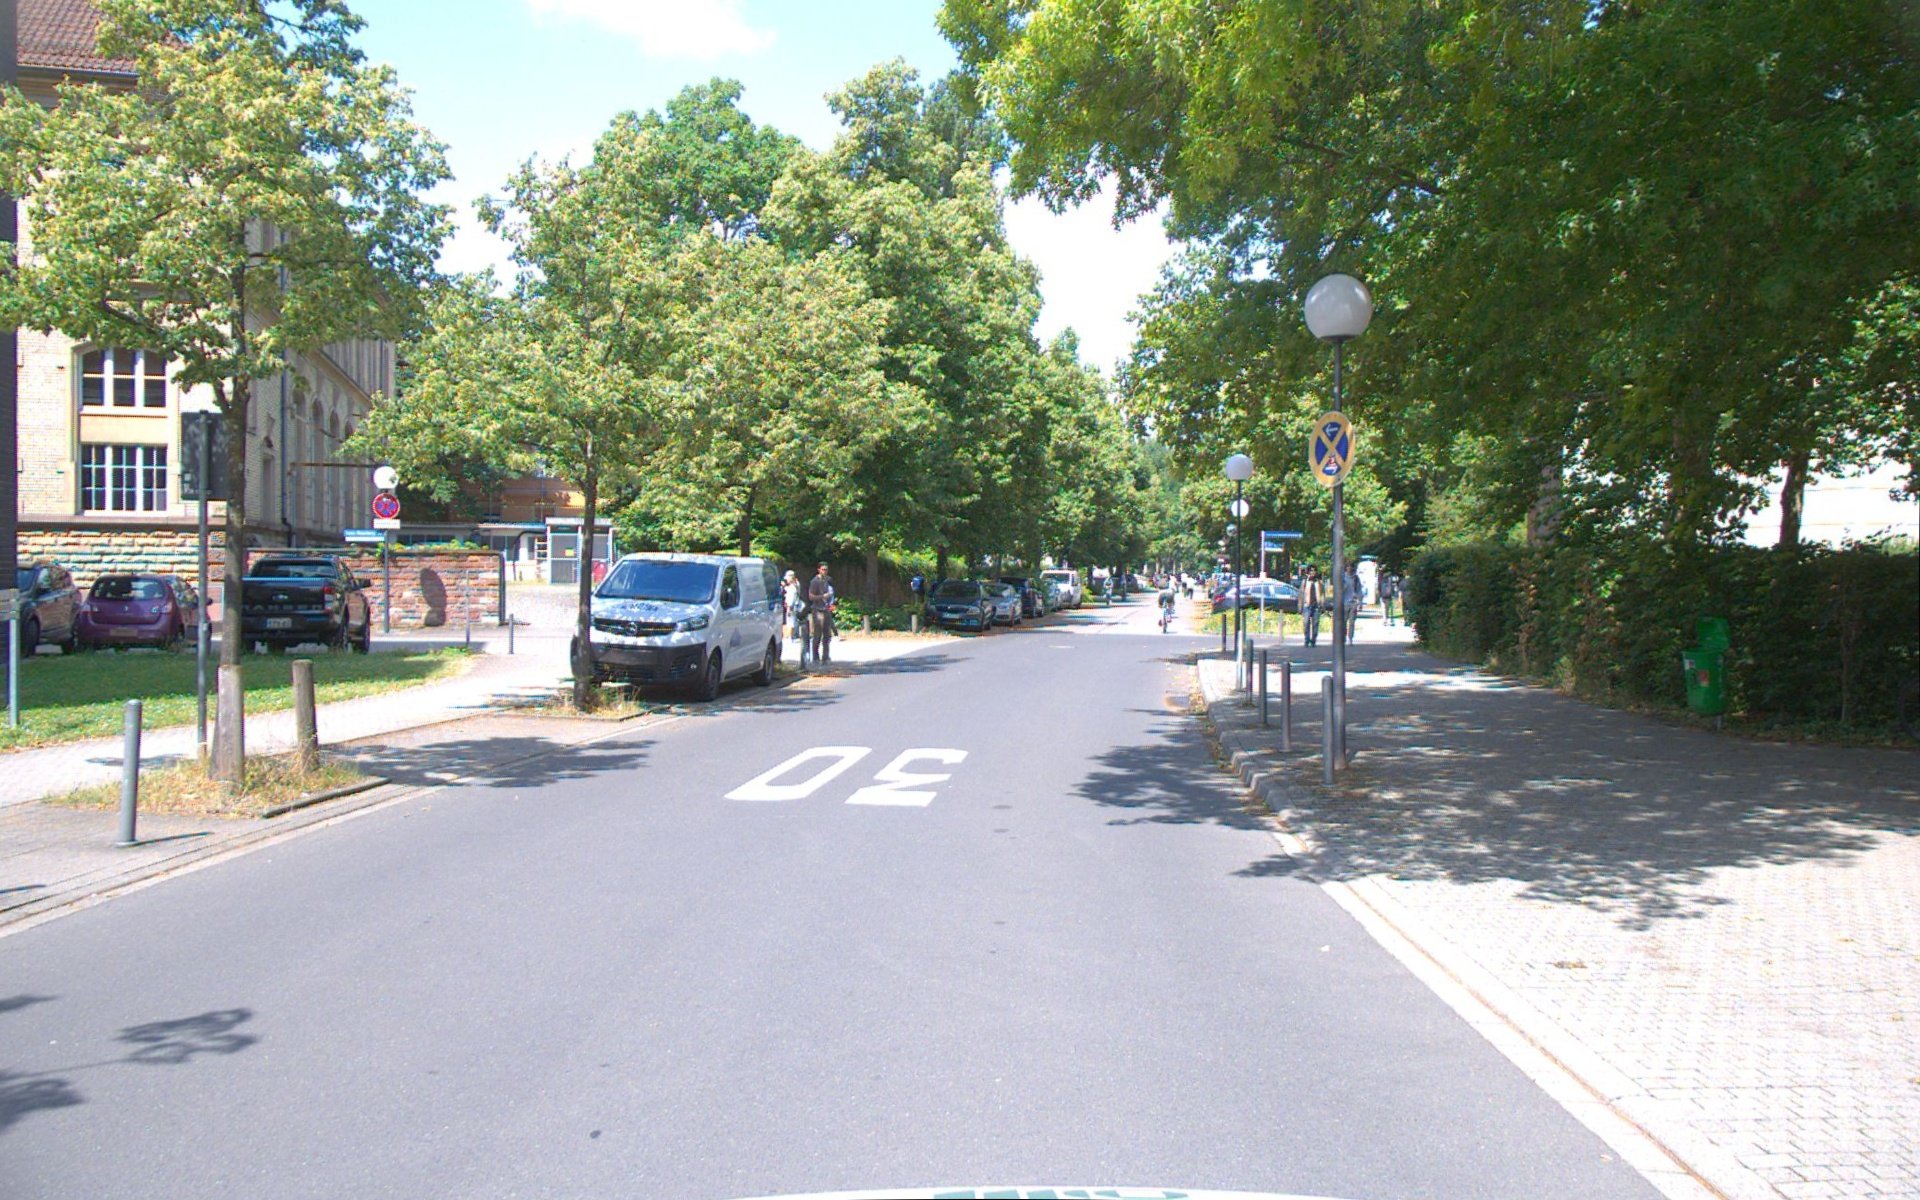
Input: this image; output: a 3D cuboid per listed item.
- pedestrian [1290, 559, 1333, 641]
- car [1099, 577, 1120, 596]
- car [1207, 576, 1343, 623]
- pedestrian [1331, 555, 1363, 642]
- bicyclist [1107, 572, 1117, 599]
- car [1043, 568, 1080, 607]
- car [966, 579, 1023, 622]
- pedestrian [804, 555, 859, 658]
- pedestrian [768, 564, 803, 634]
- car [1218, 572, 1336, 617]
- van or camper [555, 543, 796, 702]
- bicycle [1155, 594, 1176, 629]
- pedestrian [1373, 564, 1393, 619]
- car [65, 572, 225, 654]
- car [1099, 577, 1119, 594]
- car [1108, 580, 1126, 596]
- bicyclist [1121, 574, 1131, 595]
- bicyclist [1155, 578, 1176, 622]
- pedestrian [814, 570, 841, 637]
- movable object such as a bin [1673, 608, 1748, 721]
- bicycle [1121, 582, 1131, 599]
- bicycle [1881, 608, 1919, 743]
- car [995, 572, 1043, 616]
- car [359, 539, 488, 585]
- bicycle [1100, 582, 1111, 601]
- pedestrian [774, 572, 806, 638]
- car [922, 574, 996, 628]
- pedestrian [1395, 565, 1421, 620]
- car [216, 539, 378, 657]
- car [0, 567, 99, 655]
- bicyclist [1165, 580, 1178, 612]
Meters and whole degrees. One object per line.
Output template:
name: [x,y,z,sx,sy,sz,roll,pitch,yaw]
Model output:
pedestrian: [7.796,-0.015,36.654,0.804,1.786,0.841,1,1,20]
car: [11.706,-1.068,129.252,1.581,1.388,4.003,1,1,6]
car: [10.525,-0.018,55.533,4.389,1.552,1.812,0,1,8]
pedestrian: [8.585,-0.043,36.697,0.657,1.905,0.793,1,1,14]
bicyclist: [8.613,-0.820,93.757,0.551,1.524,0.828,1,1,7]
car: [5.015,-0.608,81.351,1.581,1.847,4.003,1,1,7]
car: [1.243,0.000,57.624,1.581,1.412,4.003,1,1,7]
pedestrian: [-2.396,0.113,30.903,0.710,1.889,0.791,1,1,25]
pedestrian: [-4.258,-0.034,40.440,0.623,1.692,0.594,0,1,-41]
car: [11.527,-0.214,60.348,4.166,1.616,1.812,0,1,8]
van or camper: [-3.884,0.246,23.645,1.912,1.956,5.424,2,1,6]
bicycle: [6.197,0.333,49.849,0.601,1.018,1.425,1,1,7]
pedestrian: [13.975,-0.291,54.641,0.588,1.786,0.629,1,1,14]
car: [-14.355,0.191,29.336,1.787,1.347,3.754,0,1,-15]
car: [12.569,-1.269,139.248,1.581,1.388,4.566,1,1,6]
car: [14.478,-1.114,152.208,1.581,1.388,4.003,1,1,6]
bicyclist: [10.427,-0.952,103.893,0.595,1.318,0.611,1,1,7]
bicyclist: [6.191,-0.003,49.767,0.596,1.318,0.611,1,1,7]
pedestrian: [-3.222,0.078,40.248,0.488,1.613,0.490,0,1,-27]
movable object such as a bin: [7.449,0.630,16.421,0.480,1.091,0.504,1,1,-6]
bicycle: [10.416,-0.596,103.834,0.601,1.018,1.425,1,1,7]
bicycle: [8.512,0.654,13.622,0.607,1.138,1.868,0,1,-8]
car: [2.397,-0.254,66.240,1.581,1.708,4.003,1,1,7]
car: [-18.808,-1.323,57.994,4.046,1.543,1.738,0,1,-31]
bicycle: [8.240,-0.492,93.756,0.565,1.018,1.425,1,1,7]
pedestrian: [-4.024,0.114,39.180,0.578,1.553,0.488,0,1,-34]
car: [0.024,0.002,50.074,1.722,1.548,4.115,1,1,7]
pedestrian: [14.698,-0.257,54.267,0.803,1.786,0.629,1,1,13]
car: [-11.922,-0.069,30.077,2.139,1.959,5.165,0,1,-15]
car: [-16.526,0.141,28.788,1.787,1.347,4.147,2,0,-15]
bicyclist: [8.618,-0.172,67.510,0.511,1.318,0.611,1,1,7]
